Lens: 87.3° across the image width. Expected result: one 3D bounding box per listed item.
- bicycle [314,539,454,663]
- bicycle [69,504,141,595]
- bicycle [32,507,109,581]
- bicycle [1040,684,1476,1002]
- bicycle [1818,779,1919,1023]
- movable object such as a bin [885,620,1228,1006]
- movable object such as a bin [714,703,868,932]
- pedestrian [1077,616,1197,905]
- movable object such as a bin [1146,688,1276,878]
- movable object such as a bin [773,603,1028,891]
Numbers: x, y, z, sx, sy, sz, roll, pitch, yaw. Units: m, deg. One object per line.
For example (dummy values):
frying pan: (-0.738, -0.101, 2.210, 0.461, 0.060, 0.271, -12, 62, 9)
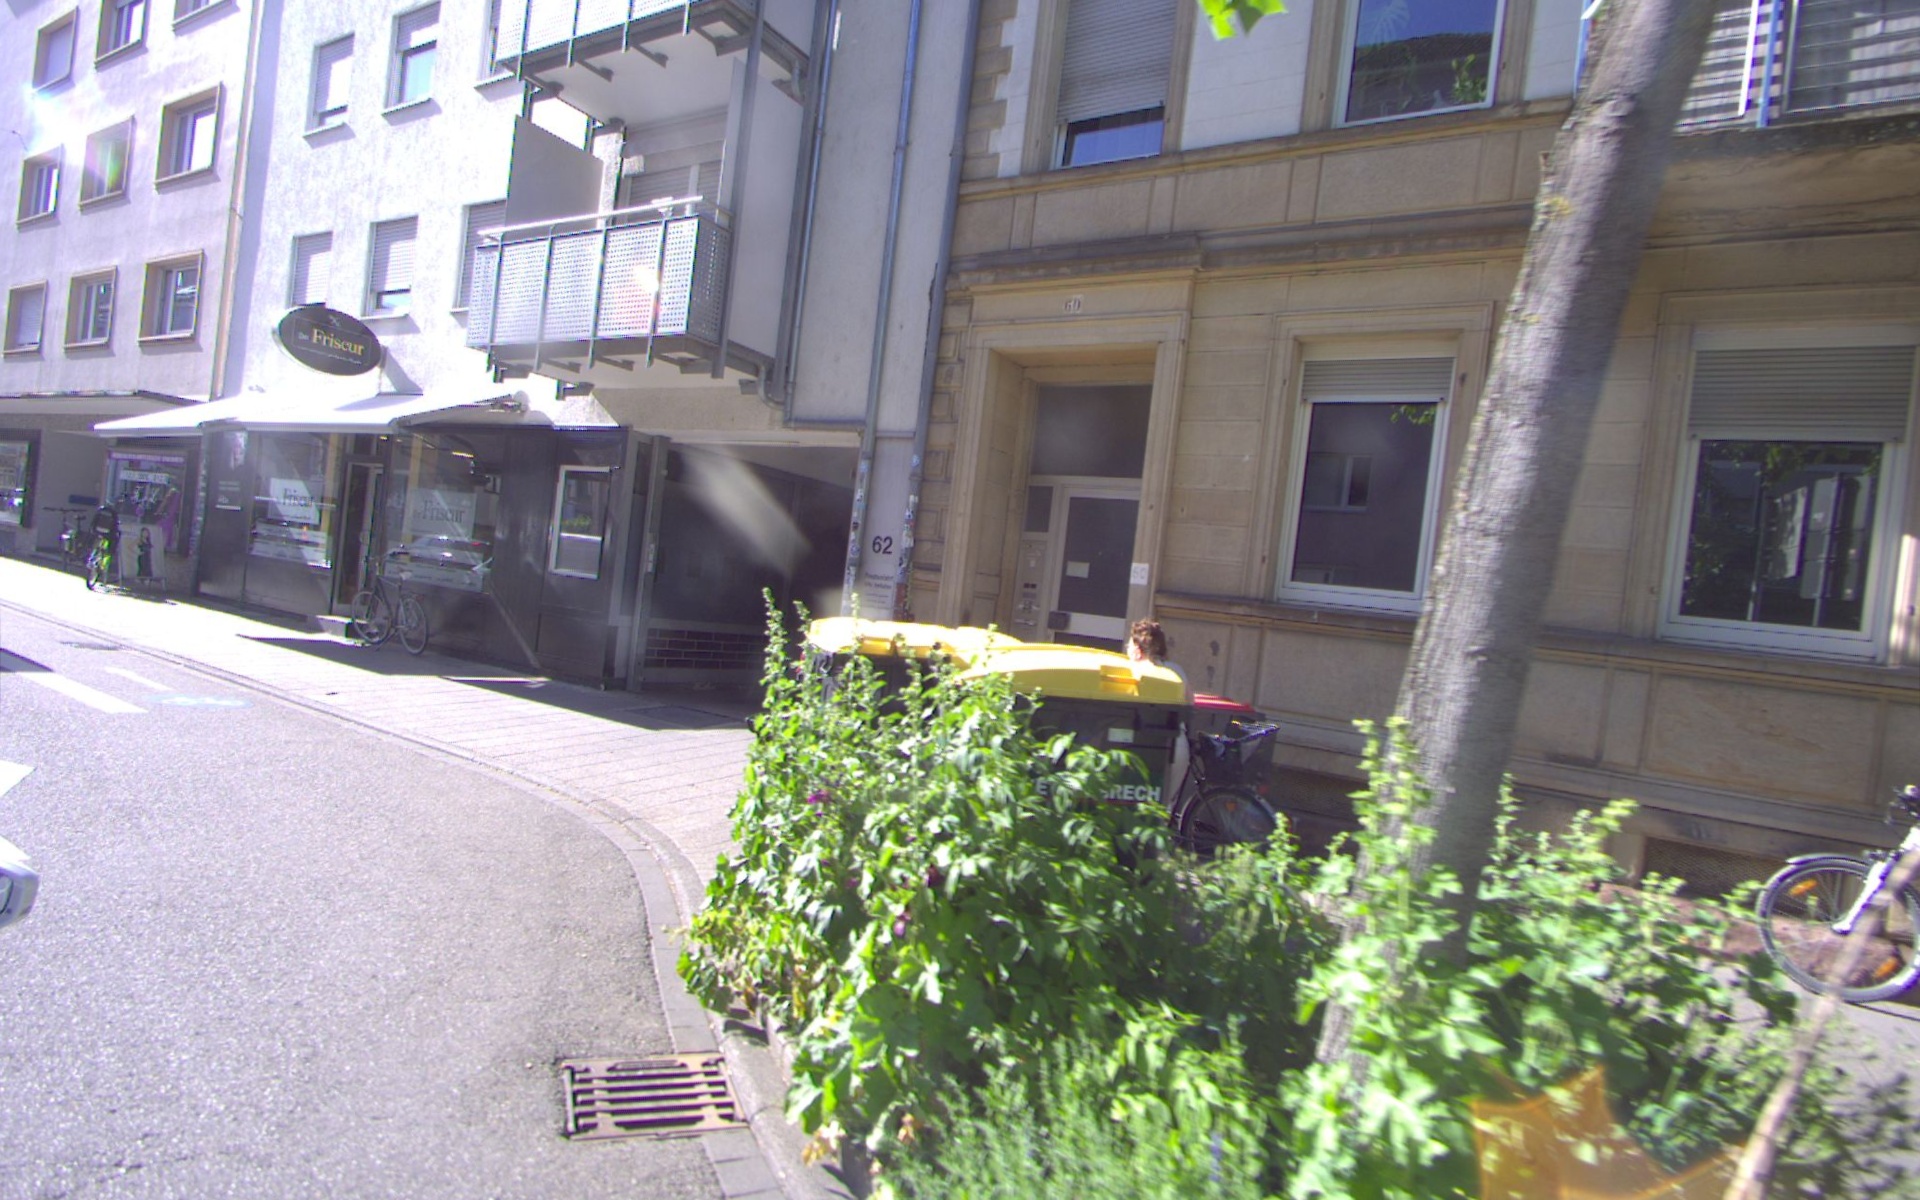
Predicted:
bicycle: (-7.042, 0.001, 12.267, 1.852, 1.285, 0.549, 7, 0, 32)
bicycle: (-13.260, -0.783, 15.591, 1.198, 1.291, 0.475, 7, 4, 31)
bicycle: (-15.686, -0.996, 17.725, 1.508, 1.132, 0.524, 7, 0, 32)
bicycle: (1.526, 1.190, 5.449, 2.091, 1.163, 0.536, 7, 0, 37)
bicycle: (5.004, 1.510, 4.667, 1.404, 1.045, 0.432, 7, 3, 32)
movable object such as a bin: (0.339, 0.851, 4.489, 1.090, 1.364, 1.269, 7, 0, -10)
movable object such as a bin: (-0.789, 0.997, 4.756, 0.463, 0.941, 0.443, 7, 0, 19)
pedestrian: (0.975, 0.854, 5.525, 0.383, 1.488, 0.368, 7, 2, 31)
movable object such as a bin: (1.593, 1.123, 6.357, 0.537, 1.055, 0.599, 7, 0, 31)
movable object such as a bin: (-0.379, 0.777, 5.639, 1.027, 1.364, 1.104, 7, 0, -19)
